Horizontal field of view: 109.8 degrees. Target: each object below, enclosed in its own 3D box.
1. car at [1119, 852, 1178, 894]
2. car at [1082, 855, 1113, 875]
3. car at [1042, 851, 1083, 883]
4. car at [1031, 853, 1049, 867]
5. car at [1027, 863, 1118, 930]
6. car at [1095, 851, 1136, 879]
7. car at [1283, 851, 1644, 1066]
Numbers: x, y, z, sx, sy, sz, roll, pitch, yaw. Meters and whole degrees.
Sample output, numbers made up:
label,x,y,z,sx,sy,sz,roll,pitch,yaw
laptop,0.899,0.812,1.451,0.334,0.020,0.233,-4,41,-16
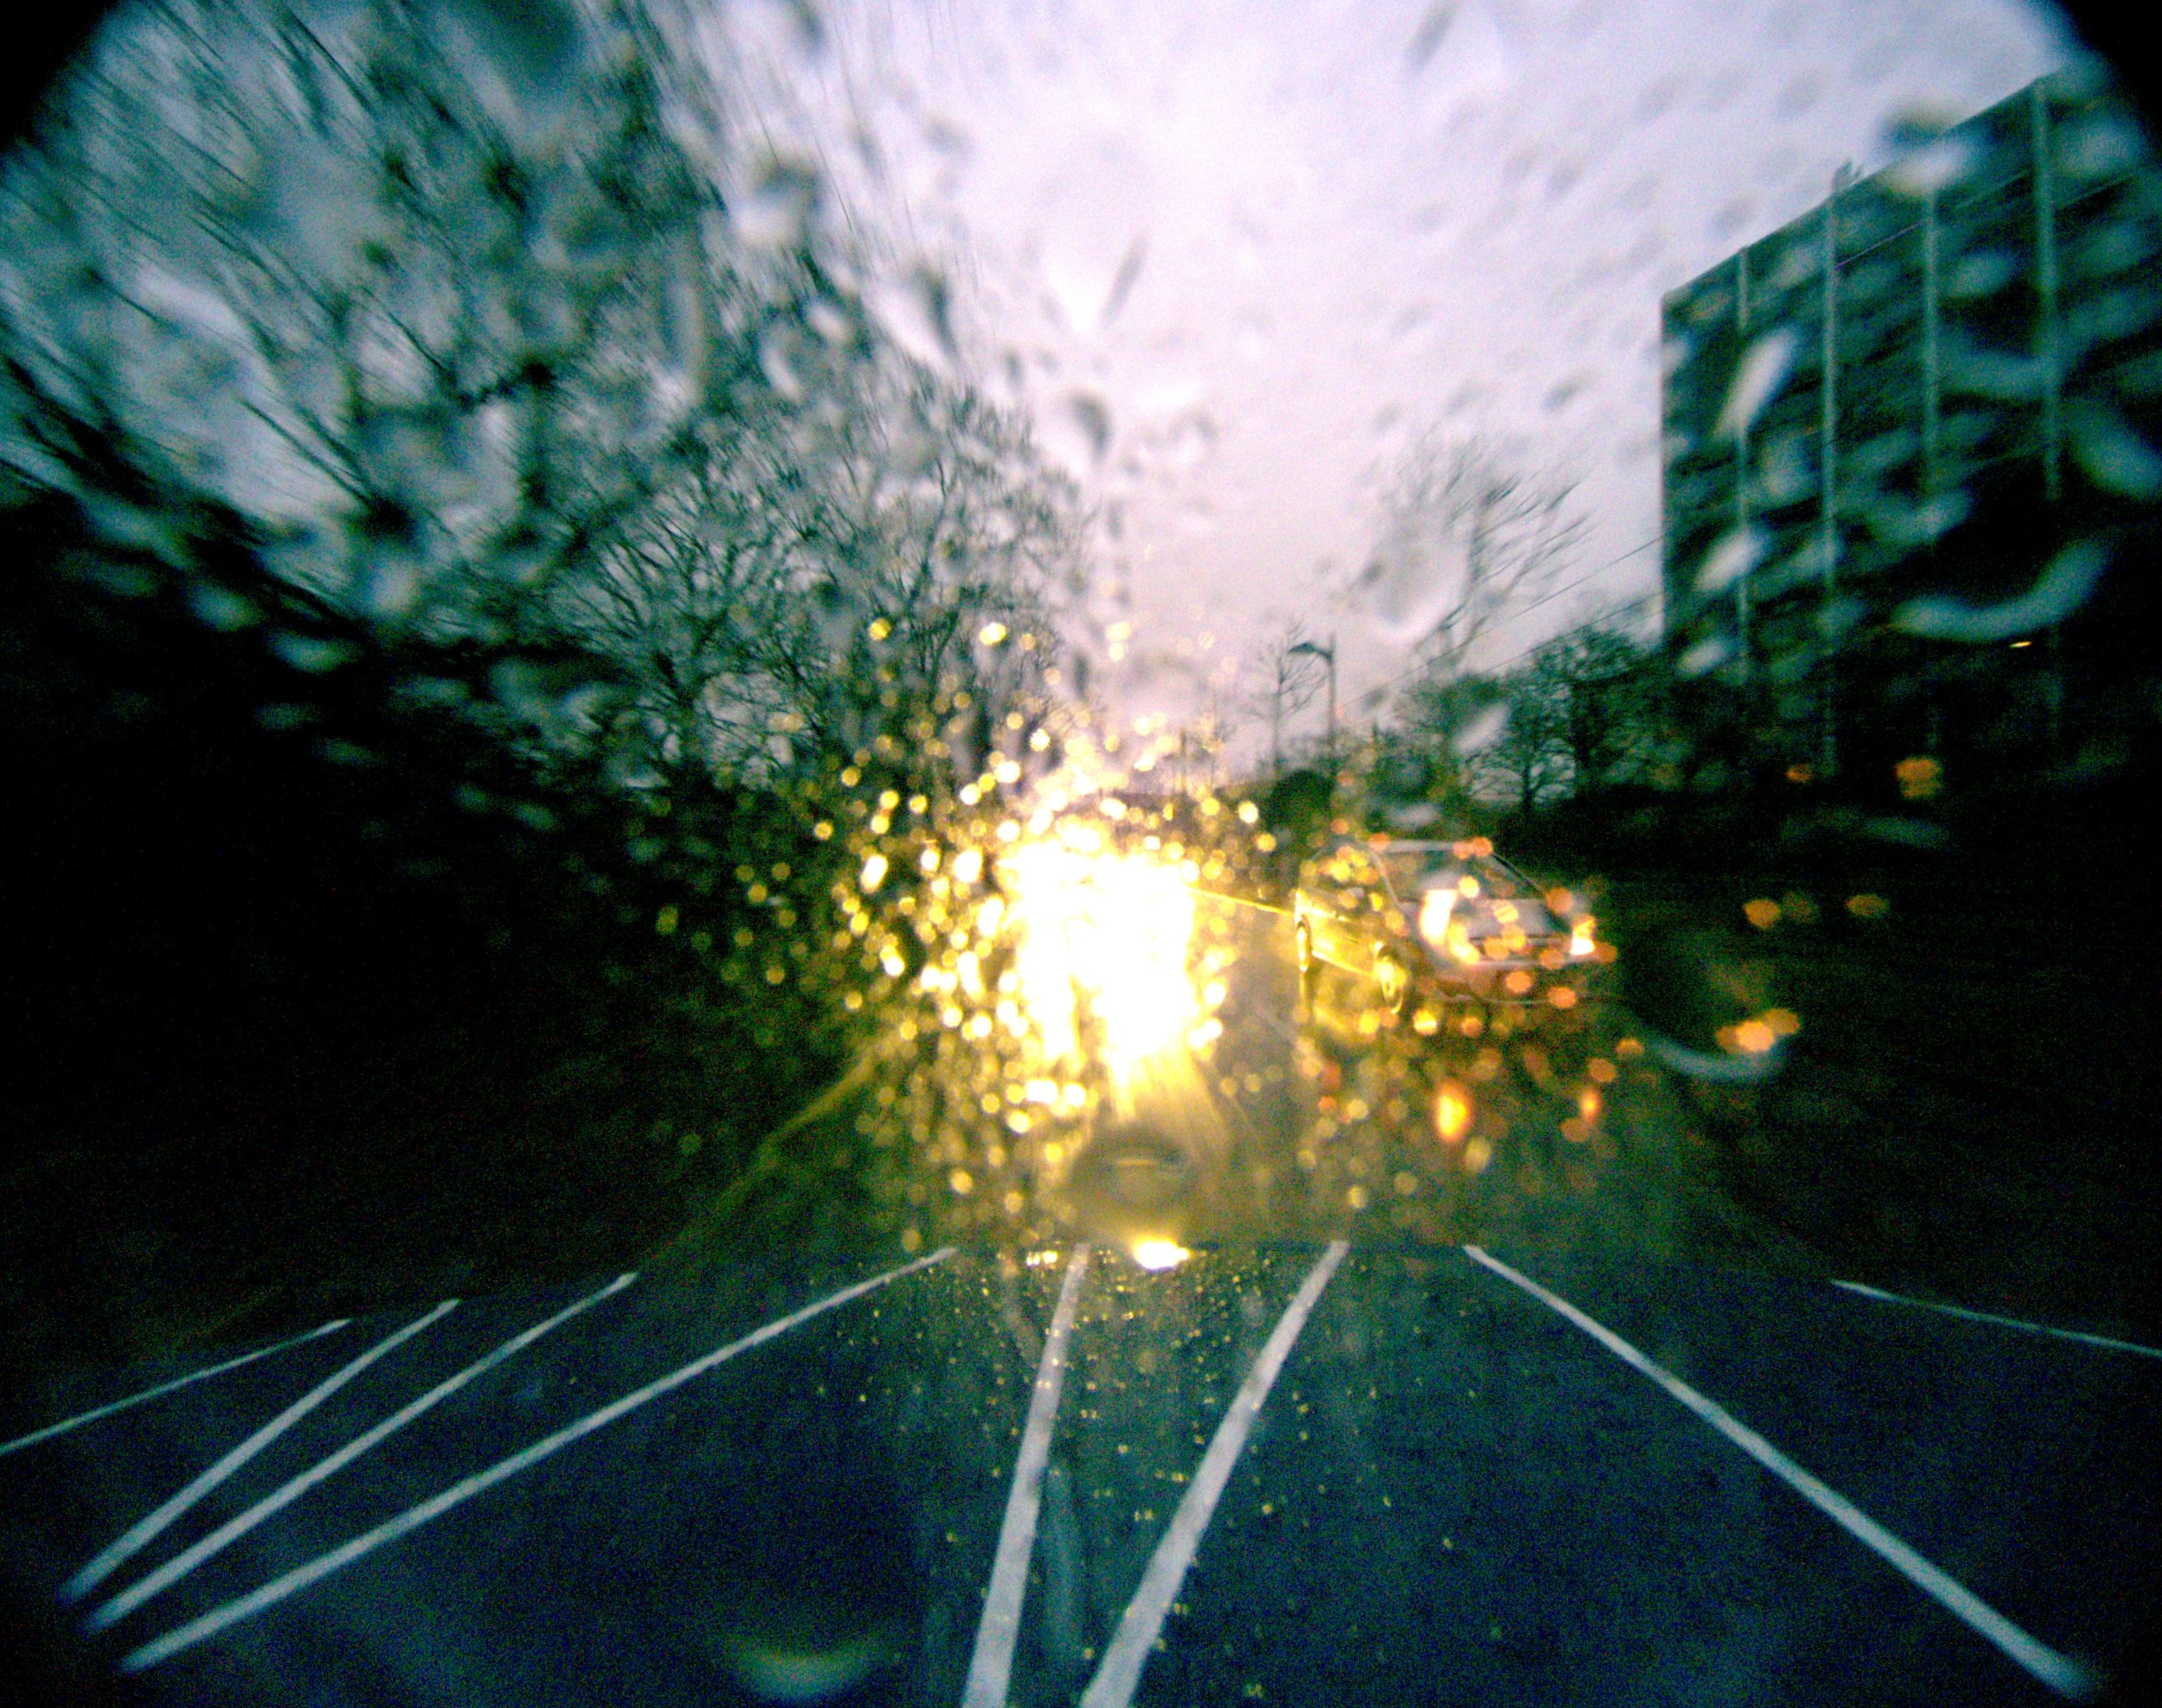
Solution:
label,x,y,z,sx,sy,sz,roll,pitch,yaw
car,2.761,0.730,31.834,1.924,1.546,4.216,-3,0,-2
car,1.303,0.888,62.521,1.950,1.546,4.214,-3,0,-7
car,-1.048,0.671,41.813,1.950,1.546,4.215,-3,0,-5
car,-5.025,0.678,92.300,1.950,1.546,4.215,-3,0,-6
car,-0.206,0.934,18.224,1.897,1.347,4.289,-1,0,-1
car,2.049,0.657,46.283,1.845,1.546,4.214,-3,0,-6
car,3.445,0.790,7.761,1.669,1.566,3.922,-3,0,0
